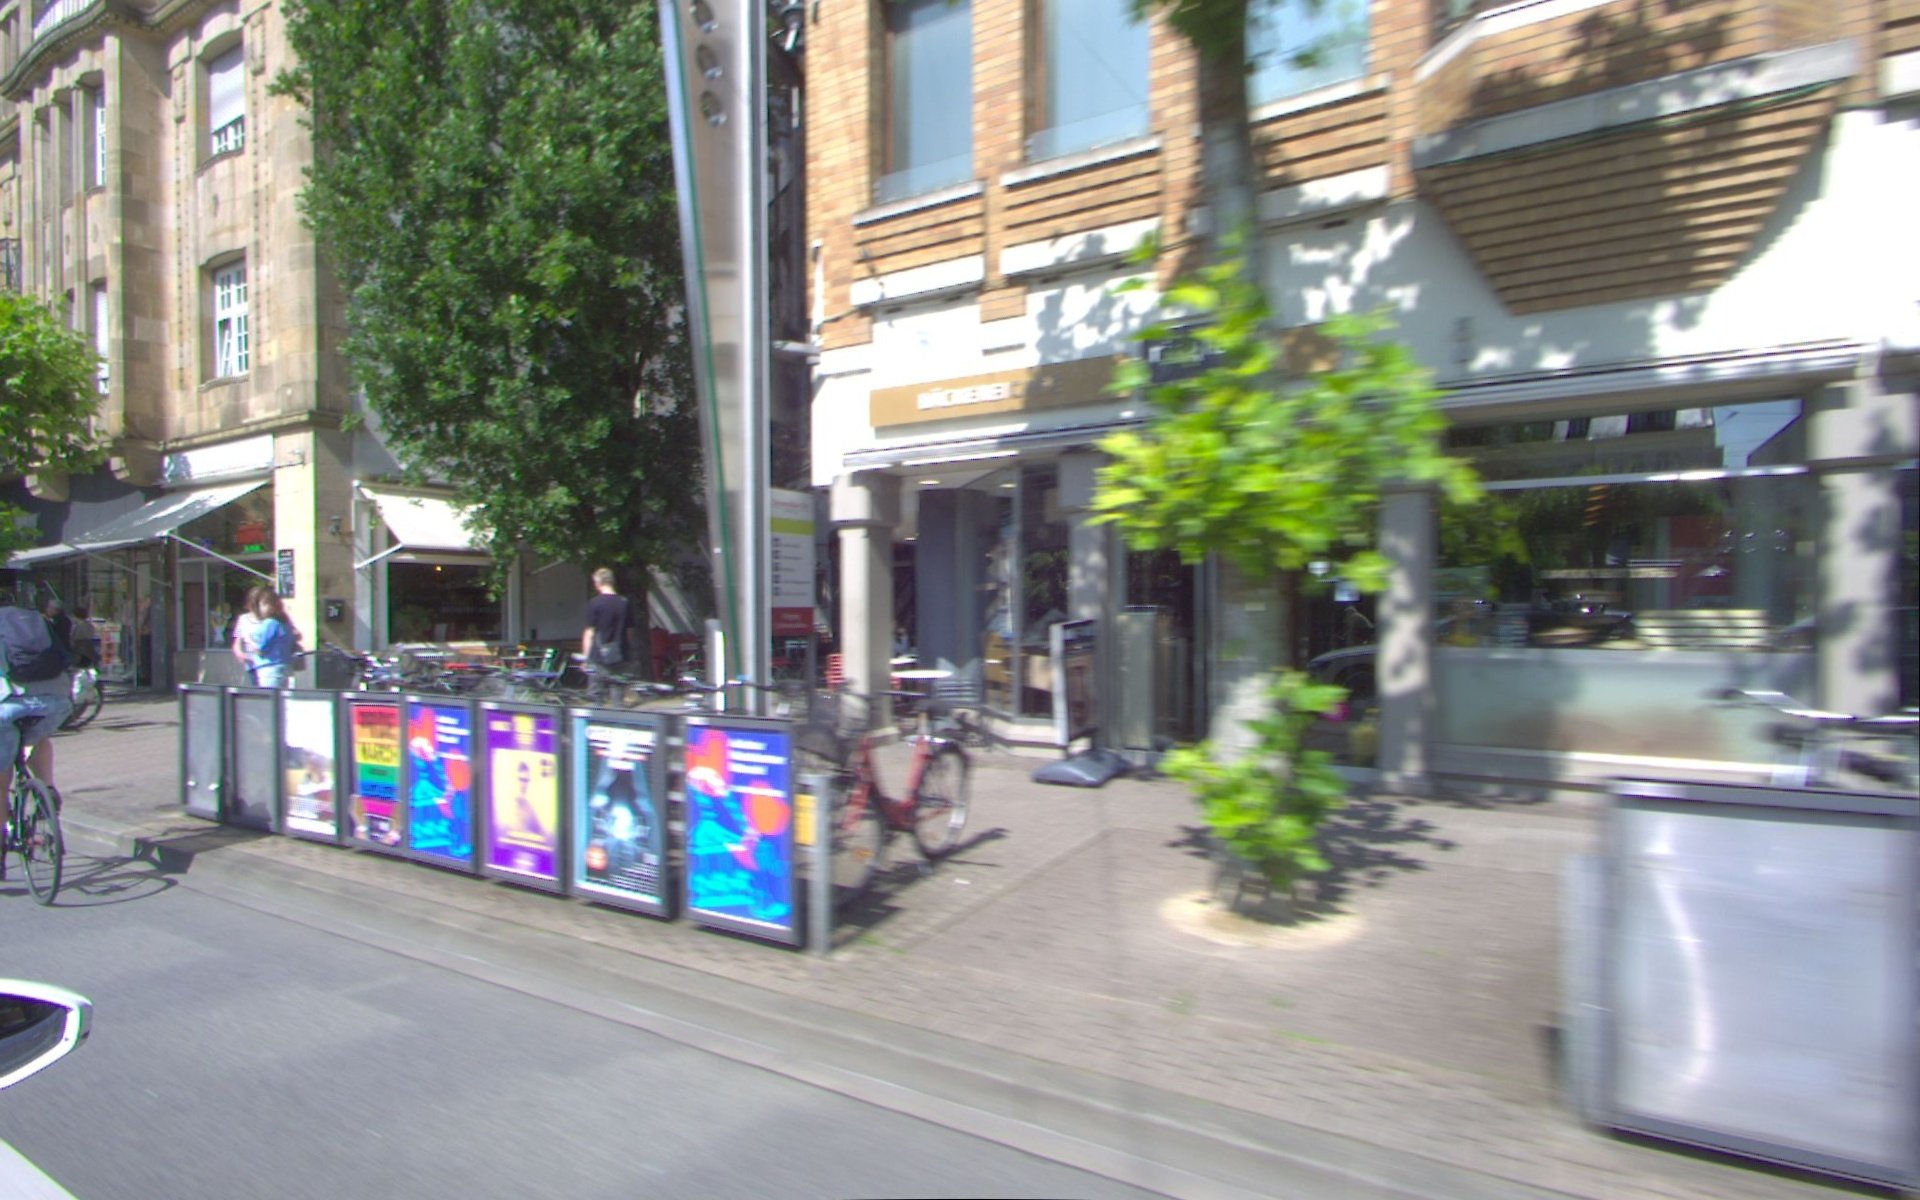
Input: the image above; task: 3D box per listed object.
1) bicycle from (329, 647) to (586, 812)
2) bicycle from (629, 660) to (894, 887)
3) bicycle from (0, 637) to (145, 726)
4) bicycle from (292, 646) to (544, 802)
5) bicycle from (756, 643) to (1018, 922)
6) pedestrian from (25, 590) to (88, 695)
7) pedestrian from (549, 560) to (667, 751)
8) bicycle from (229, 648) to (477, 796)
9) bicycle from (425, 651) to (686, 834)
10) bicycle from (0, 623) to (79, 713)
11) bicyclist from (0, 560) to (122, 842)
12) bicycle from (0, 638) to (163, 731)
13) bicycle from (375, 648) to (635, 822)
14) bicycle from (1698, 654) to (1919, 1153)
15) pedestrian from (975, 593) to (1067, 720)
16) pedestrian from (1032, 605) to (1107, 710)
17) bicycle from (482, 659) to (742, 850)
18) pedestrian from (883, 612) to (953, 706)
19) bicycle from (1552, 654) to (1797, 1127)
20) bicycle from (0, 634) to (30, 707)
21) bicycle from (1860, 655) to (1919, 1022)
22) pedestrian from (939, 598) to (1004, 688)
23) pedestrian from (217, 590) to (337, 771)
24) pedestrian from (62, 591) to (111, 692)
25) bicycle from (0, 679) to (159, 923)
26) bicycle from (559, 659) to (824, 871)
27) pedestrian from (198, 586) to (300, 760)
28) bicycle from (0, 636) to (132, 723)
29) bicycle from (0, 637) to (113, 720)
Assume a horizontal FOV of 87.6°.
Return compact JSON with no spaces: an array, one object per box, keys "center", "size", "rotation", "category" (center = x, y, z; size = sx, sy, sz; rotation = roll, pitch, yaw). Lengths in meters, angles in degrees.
[{"center":[-3.668,0.894,7.468],"size":[0.475,1.031,1.750],"rotation":[0,-1,30],"category":"bicycle"},{"center":[-1.059,0.901,5.774],"size":[0.475,1.031,1.750],"rotation":[0,-1,30],"category":"bicycle"},{"center":[-11.368,0.996,12.544],"size":[0.475,1.031,1.750],"rotation":[0,-1,30],"category":"bicycle"},{"center":[-4.152,0.899,7.823],"size":[0.475,1.031,1.750],"rotation":[0,-1,30],"category":"bicycle"},{"center":[-0.296,0.831,5.223],"size":[0.475,1.162,1.750],"rotation":[0,0,30],"category":"bicycle"},{"center":[-14.985,0.688,16.615],"size":[0.490,1.706,0.537],"rotation":[-1,1,7],"category":"pedestrian"},{"center":[-3.525,0.533,10.027],"size":[0.972,1.805,0.665],"rotation":[0,1,36],"category":"pedestrian"},{"center":[-4.920,0.937,8.247],"size":[0.475,1.031,1.750],"rotation":[0,-1,30],"category":"bicycle"},{"center":[-2.692,0.900,6.871],"size":[0.475,1.031,1.750],"rotation":[0,-1,30],"category":"bicycle"},{"center":[-13.105,0.921,13.510],"size":[0.570,1.196,1.750],"rotation":[0,0,30],"category":"bicycle"},{"center":[-5.450,0.541,5.691],"size":[1.126,1.481,0.687],"rotation":[0,-2,31],"category":"bicyclist"},{"center":[-10.913,1.007,12.268],"size":[0.475,1.031,1.750],"rotation":[0,-1,30],"category":"bicycle"},{"center":[-3.173,0.890,7.166],"size":[0.475,1.031,1.750],"rotation":[0,-1,30],"category":"bicycle"},{"center":[2.793,0.788,3.213],"size":[0.475,1.162,1.750],"rotation":[0,0,30],"category":"bicycle"},{"center":[0.629,0.588,10.443],"size":[0.779,1.271,0.639],"rotation":[1,-1,-15],"category":"pedestrian"},{"center":[1.392,0.721,12.680],"size":[0.632,1.271,0.789],"rotation":[0,-2,36],"category":"pedestrian"},{"center":[-2.181,0.921,6.506],"size":[0.475,0.998,1.715],"rotation":[0,-1,30],"category":"bicycle"},{"center":[-0.582,0.809,14.029],"size":[0.779,1.271,0.639],"rotation":[0,-1,20],"category":"pedestrian"},{"center":[2.379,0.801,3.486],"size":[0.475,1.162,1.751],"rotation":[0,0,28],"category":"bicycle"},{"center":[-14.419,1.017,14.195],"size":[1.736,1.031,0.653],"rotation":[1,0,-36],"category":"bicycle"},{"center":[3.208,0.778,2.940],"size":[0.475,1.162,1.750],"rotation":[0,0,30],"category":"bicycle"},{"center":[0.161,0.623,14.551],"size":[0.779,1.271,0.639],"rotation":[1,-1,-15],"category":"pedestrian"},{"center":[-6.512,0.730,9.562],"size":[0.692,1.648,0.694],"rotation":[0,2,31],"category":"pedestrian"},{"center":[-14.961,0.709,17.156],"size":[0.375,1.705,0.476],"rotation":[-1,1,14],"category":"pedestrian"},{"center":[-5.478,1.050,5.692],"size":[2.099,1.107,0.733],"rotation":[0,-2,31],"category":"bicycle"},{"center":[-1.549,0.910,6.094],"size":[0.475,1.031,1.750],"rotation":[0,-1,30],"category":"bicycle"},{"center":[-7.070,0.696,9.968],"size":[0.636,1.649,0.596],"rotation":[1,3,37],"category":"pedestrian"},{"center":[-11.837,1.003,12.866],"size":[0.578,1.031,1.750],"rotation":[0,0,30],"category":"bicycle"},{"center":[-12.363,1.024,13.202],"size":[0.549,1.031,1.750],"rotation":[0,-1,30],"category":"bicycle"}]
